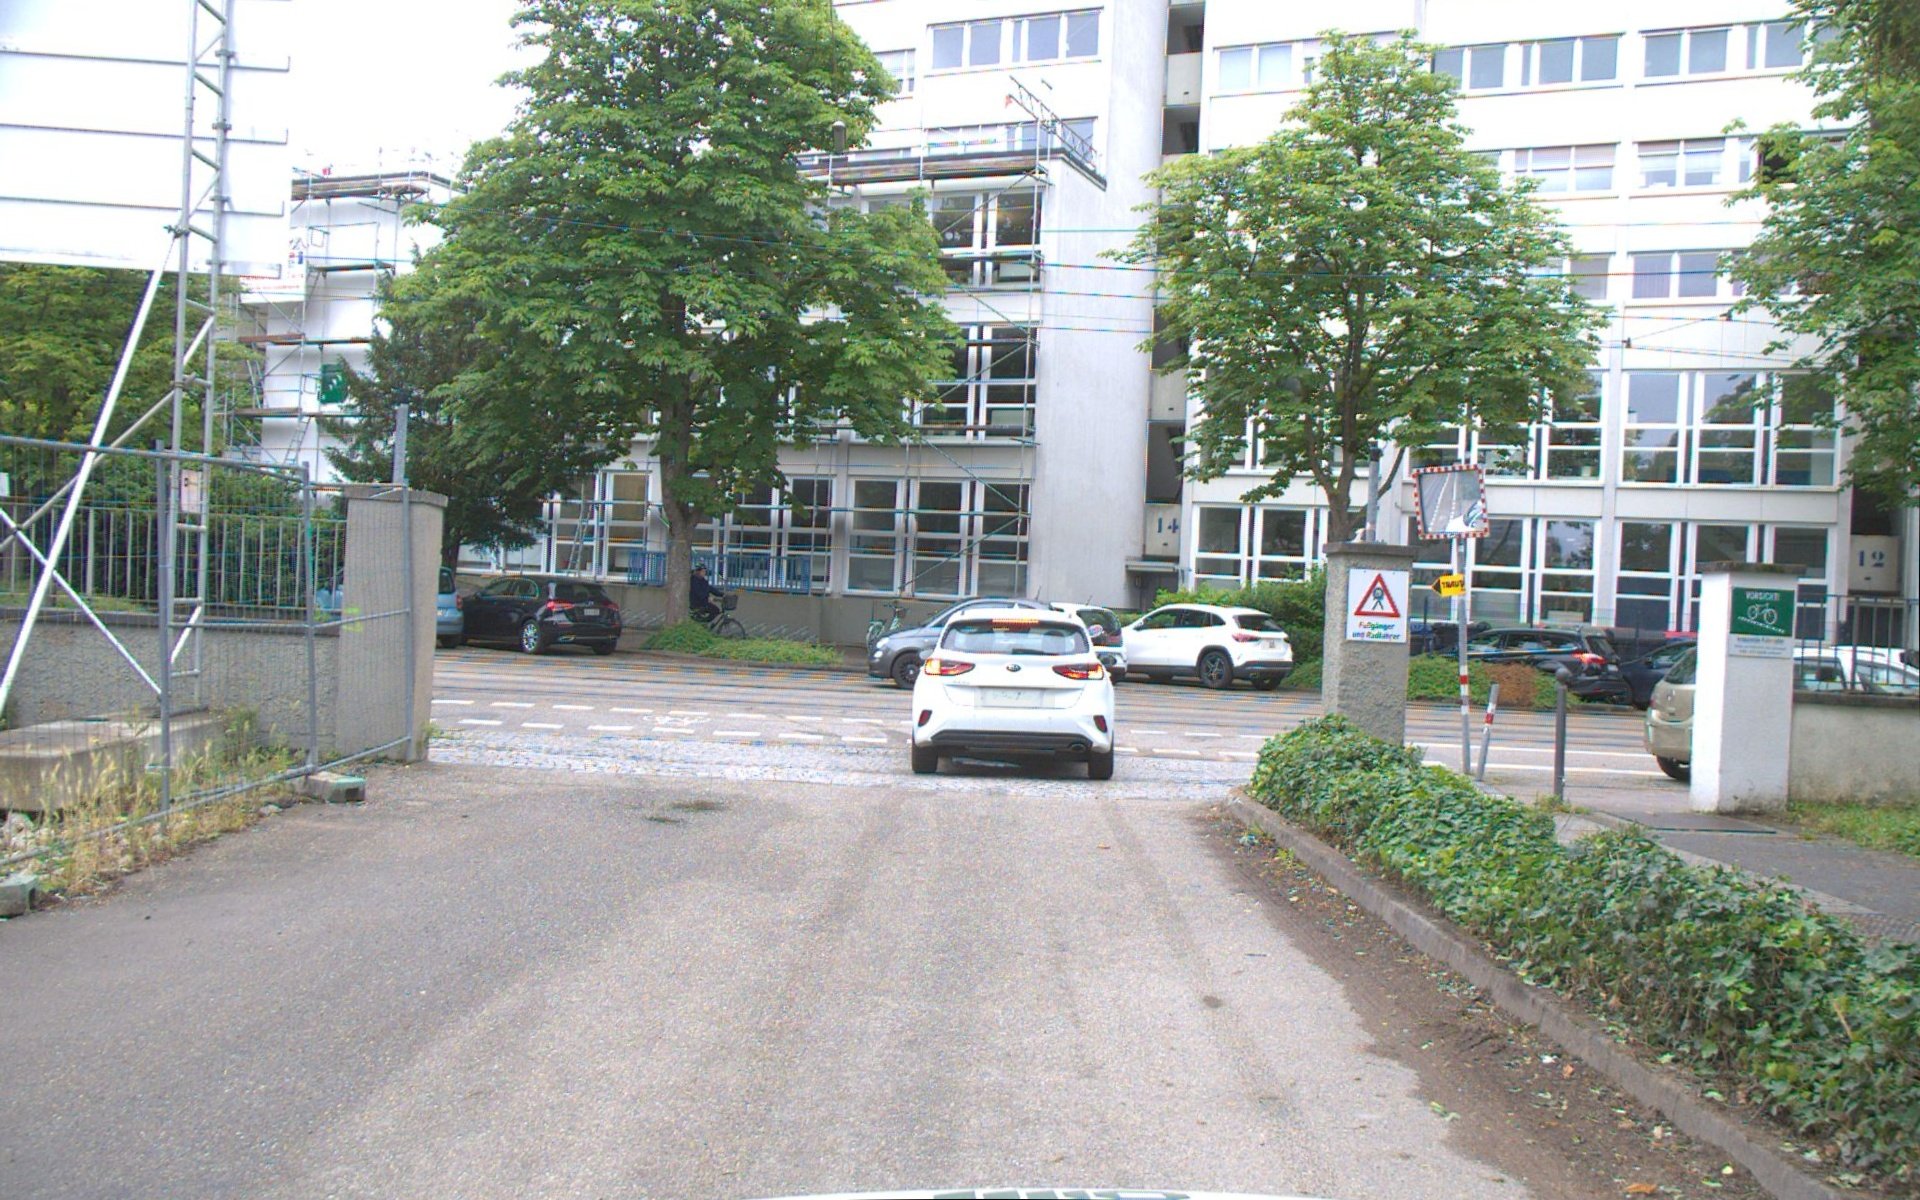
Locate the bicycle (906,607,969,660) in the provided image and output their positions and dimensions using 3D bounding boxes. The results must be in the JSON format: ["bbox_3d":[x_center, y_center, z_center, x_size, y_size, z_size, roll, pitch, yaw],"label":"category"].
[{"bbox_3d":[-0.500,0.749,38.015,0.631,1.093,2.313,2,2,20],"label":"bicycle"}]

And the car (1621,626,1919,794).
[{"bbox_3d":[8.969,1.123,17.157,3.510,1.527,1.665,3,0,-2],"label":"car"}]

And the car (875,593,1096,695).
[{"bbox_3d":[0.359,0.678,26.126,3.351,1.445,1.520,2,0,-3],"label":"car"}]

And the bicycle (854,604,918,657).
[{"bbox_3d":[-1.699,0.699,38.534,0.631,1.093,2.313,2,2,20],"label":"bicycle"}]

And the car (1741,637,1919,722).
[{"bbox_3d":[17.665,1.558,33.193,3.333,1.499,1.407,2,0,44],"label":"car"}]

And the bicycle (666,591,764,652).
[{"bbox_3d":[-5.178,0.450,34.998,1.871,1.194,0.821,3,0,25],"label":"bicycle"}]

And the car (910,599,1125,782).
[{"bbox_3d":[0.585,0.820,15.647,1.738,1.458,3.979,2,-2,3],"label":"car"}]

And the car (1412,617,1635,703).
[{"bbox_3d":[11.212,1.168,33.042,3.882,1.499,1.664,2,0,41],"label":"car"}]

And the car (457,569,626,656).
[{"bbox_3d":[-7.999,0.218,31.500,3.280,1.537,1.608,2,0,44],"label":"car"}]

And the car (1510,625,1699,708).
[{"bbox_3d":[13.225,1.337,34.032,3.333,1.499,1.407,2,0,44],"label":"car"}]

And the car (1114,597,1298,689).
[{"bbox_3d":[4.808,0.823,32.571,1.544,1.646,3.354,2,0,-43],"label":"car"}]

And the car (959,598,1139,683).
[{"bbox_3d":[1.700,0.769,32.219,1.544,1.499,3.354,2,0,-43],"label":"car"}]

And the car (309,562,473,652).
[{"bbox_3d":[-10.835,0.120,31.401,3.280,1.564,1.608,2,0,44],"label":"car"}]

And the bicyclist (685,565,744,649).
[{"bbox_3d":[-5.197,0.144,35.050,0.876,1.727,0.834,2,0,24],"label":"bicyclist"}]
